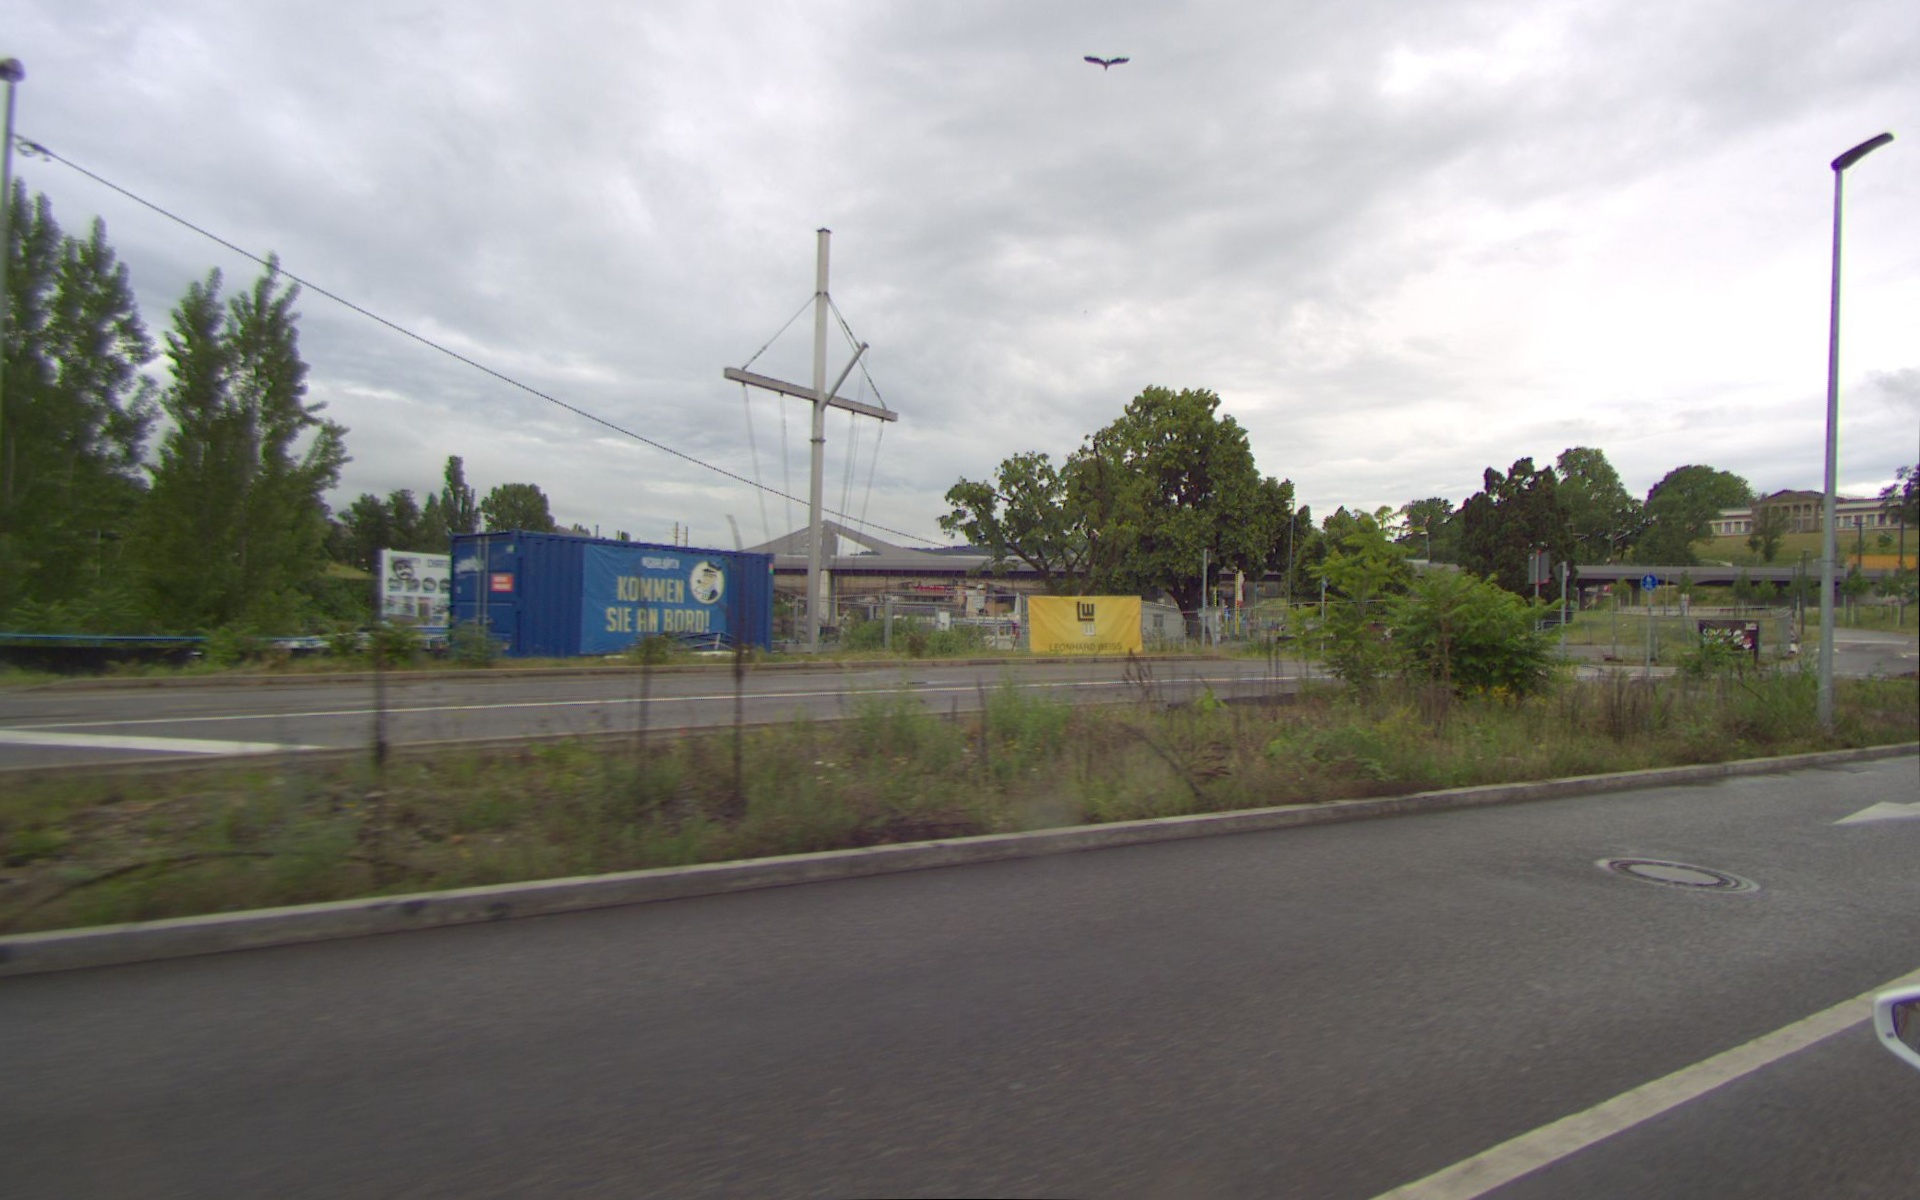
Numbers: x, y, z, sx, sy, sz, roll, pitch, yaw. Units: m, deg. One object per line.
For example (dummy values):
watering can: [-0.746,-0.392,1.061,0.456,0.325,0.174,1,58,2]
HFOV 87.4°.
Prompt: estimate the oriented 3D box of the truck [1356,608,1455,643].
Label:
truck: [38.815,2.179,87.827,7.807,2.840,2.423,1,0,22]
